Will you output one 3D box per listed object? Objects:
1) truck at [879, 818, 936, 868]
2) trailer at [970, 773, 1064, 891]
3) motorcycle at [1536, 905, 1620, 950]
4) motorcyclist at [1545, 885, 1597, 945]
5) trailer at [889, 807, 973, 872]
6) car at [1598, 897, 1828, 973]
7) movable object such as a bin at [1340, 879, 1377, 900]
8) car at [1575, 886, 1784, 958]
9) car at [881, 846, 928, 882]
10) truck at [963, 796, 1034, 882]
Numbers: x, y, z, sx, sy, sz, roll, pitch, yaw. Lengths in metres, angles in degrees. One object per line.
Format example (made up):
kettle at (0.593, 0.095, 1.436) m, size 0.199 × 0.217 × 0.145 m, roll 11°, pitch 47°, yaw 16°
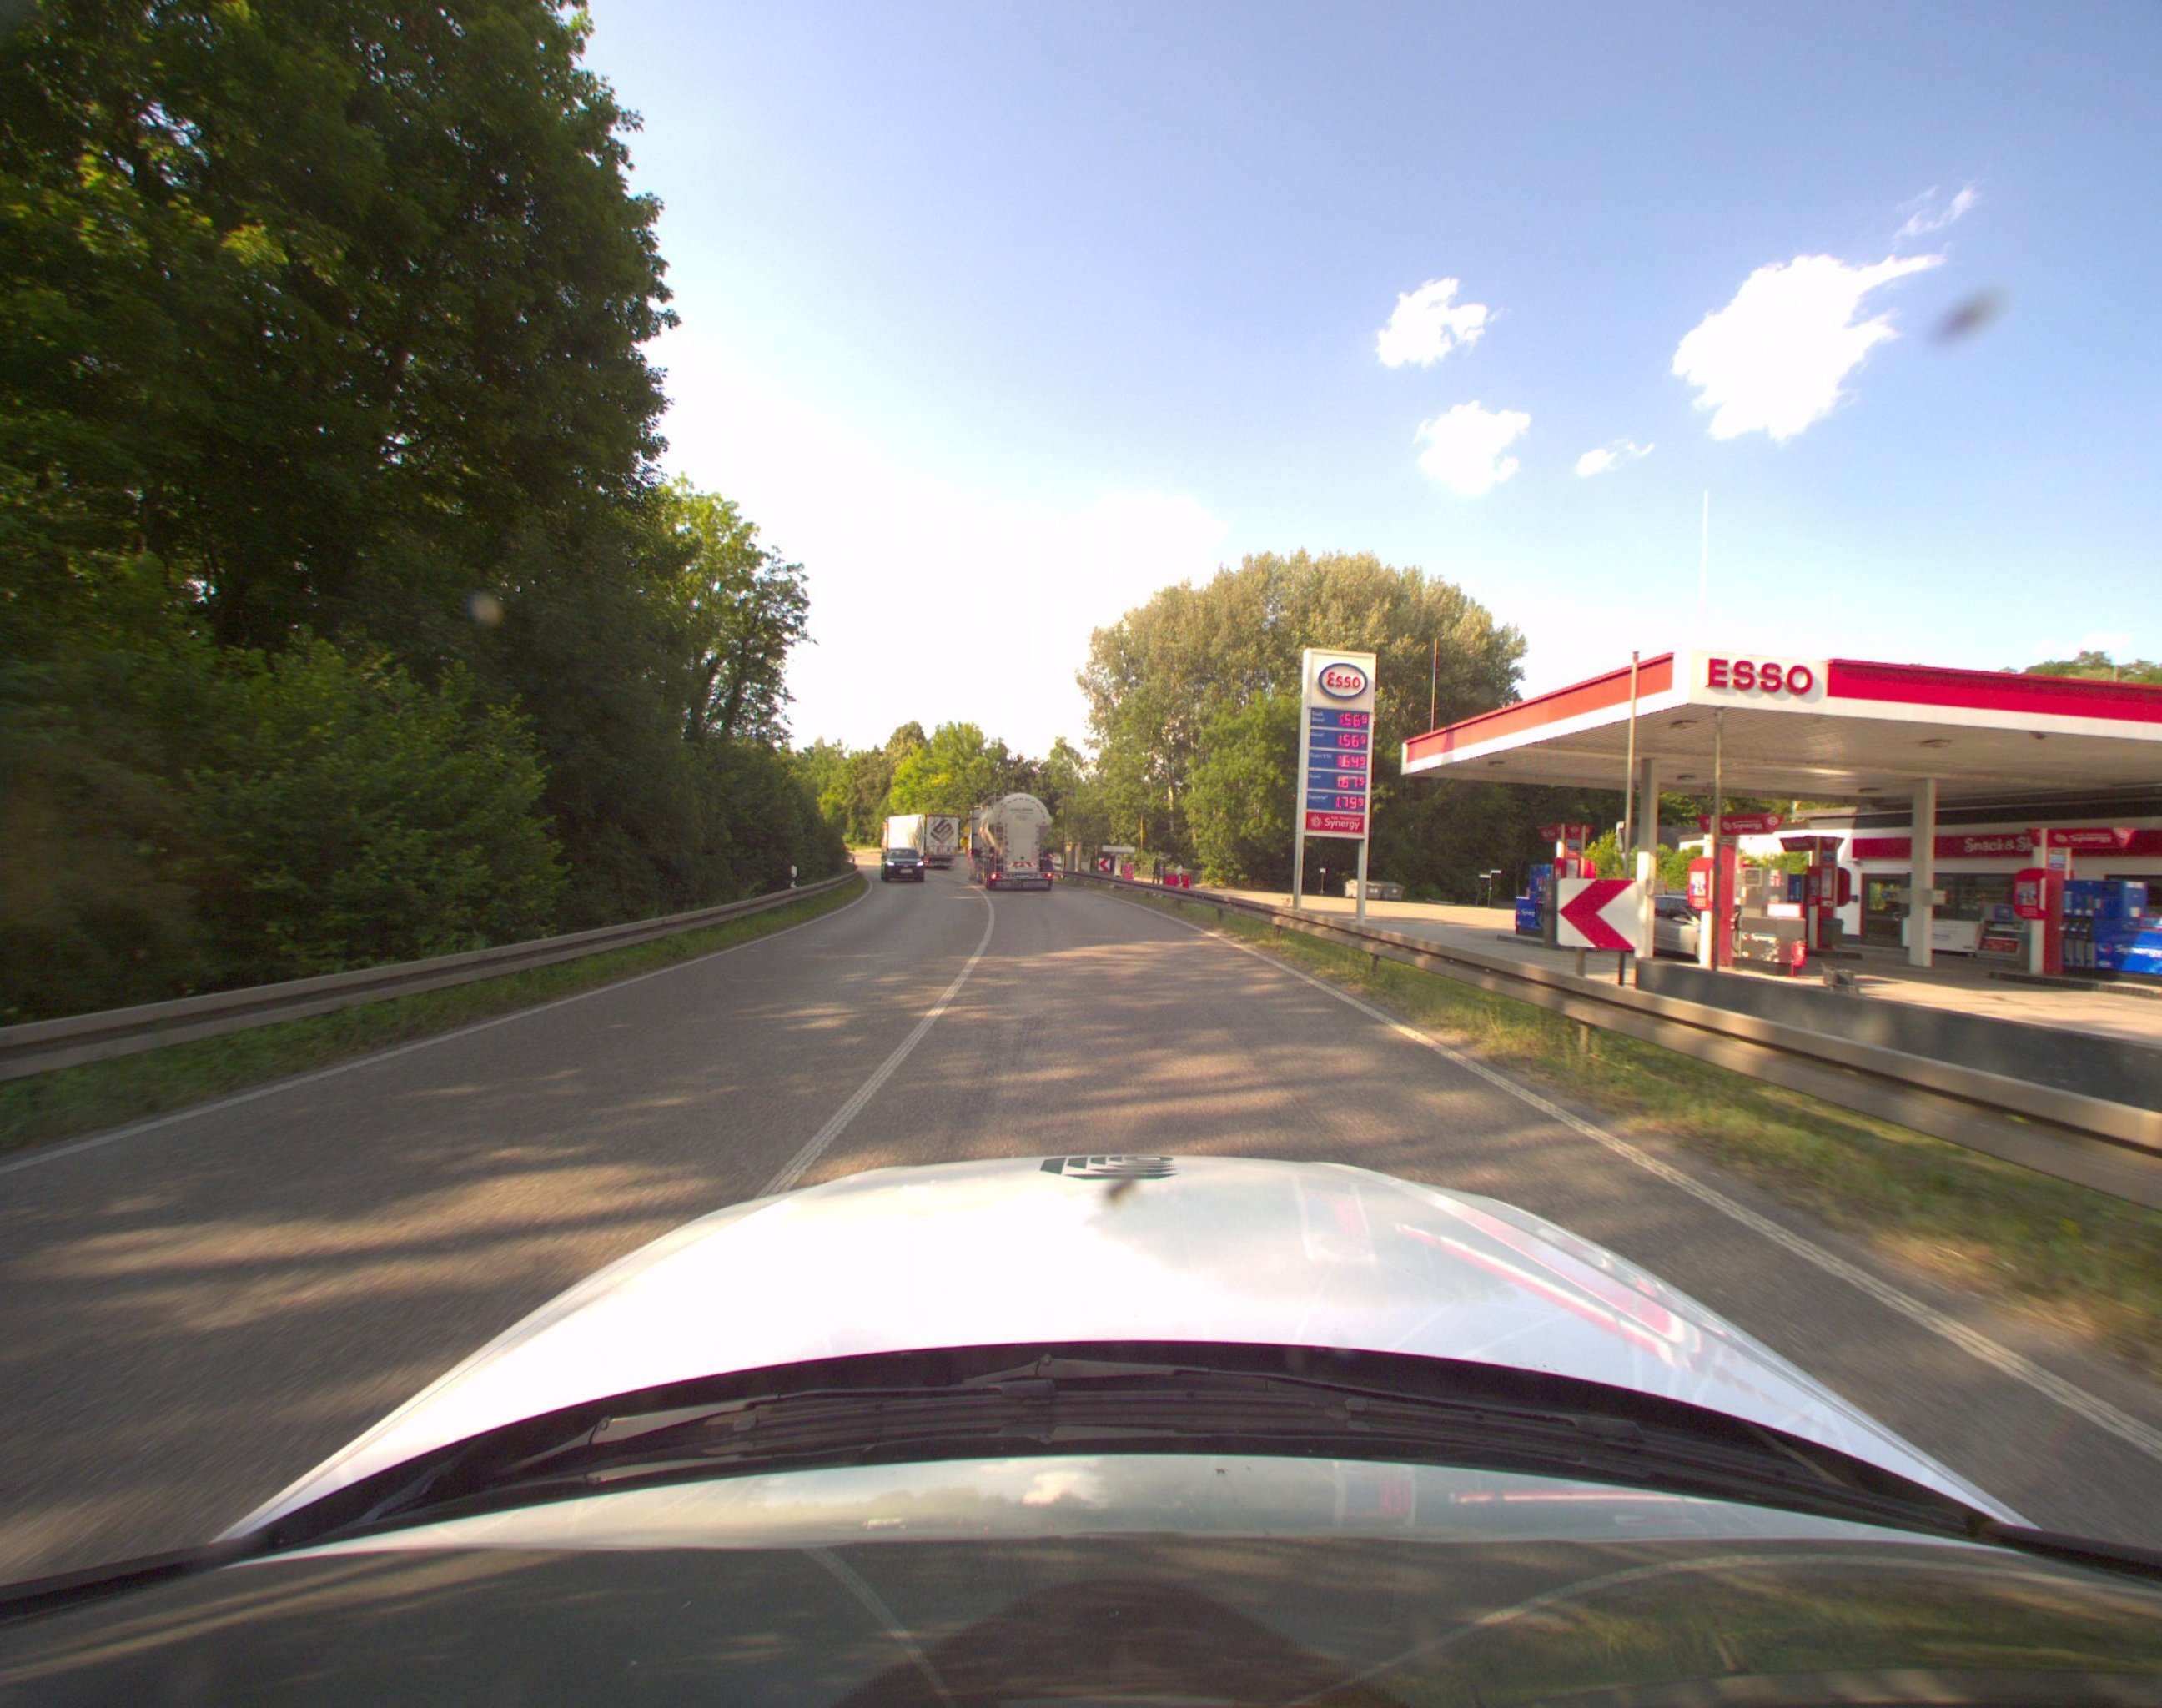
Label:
truck at (-15.150, -0.943, 70.769) m, size 3.466 × 4.086 × 6.438 m, roll 2°, pitch 0°, yaw -25°
trailer at (-3.069, -0.849, 35.836) m, size 2.889 × 4.454 × 9.565 m, roll 0°, pitch 0°, yaw -12°
motorcycle at (13.744, 2.006, 22.626) m, size 0.760 × 1.012 × 2.337 m, roll 2°, pitch 0°, yaw -4°
motorcyclist at (13.747, 1.700, 22.870) m, size 0.856 × 1.605 × 0.926 m, roll 2°, pitch -1°, yaw -5°
trailer at (-12.073, -1.081, 63.952) m, size 3.561 × 4.513 × 12.883 m, roll 2°, pitch 0°, yaw -23°
car at (14.595, 1.813, 19.192) m, size 1.838 × 1.319 × 4.384 m, roll 2°, pitch 0°, yaw -3°
movable object such as a bin at (20.863, 2.651, 61.315) m, size 1.269 × 1.420 × 2.542 m, roll 5°, pitch -1°, yaw -18°
car at (17.305, 1.896, 23.984) m, size 2.089 × 1.628 × 5.171 m, roll 2°, pitch 0°, yaw -5°
car at (-8.855, 0.460, 40.628) m, size 1.872 × 1.653 × 4.522 m, roll -1°, pitch 1°, yaw -18°
truck at (-4.284, -0.717, 41.252) m, size 2.828 × 4.035 × 5.866 m, roll 0°, pitch 0°, yaw -14°
